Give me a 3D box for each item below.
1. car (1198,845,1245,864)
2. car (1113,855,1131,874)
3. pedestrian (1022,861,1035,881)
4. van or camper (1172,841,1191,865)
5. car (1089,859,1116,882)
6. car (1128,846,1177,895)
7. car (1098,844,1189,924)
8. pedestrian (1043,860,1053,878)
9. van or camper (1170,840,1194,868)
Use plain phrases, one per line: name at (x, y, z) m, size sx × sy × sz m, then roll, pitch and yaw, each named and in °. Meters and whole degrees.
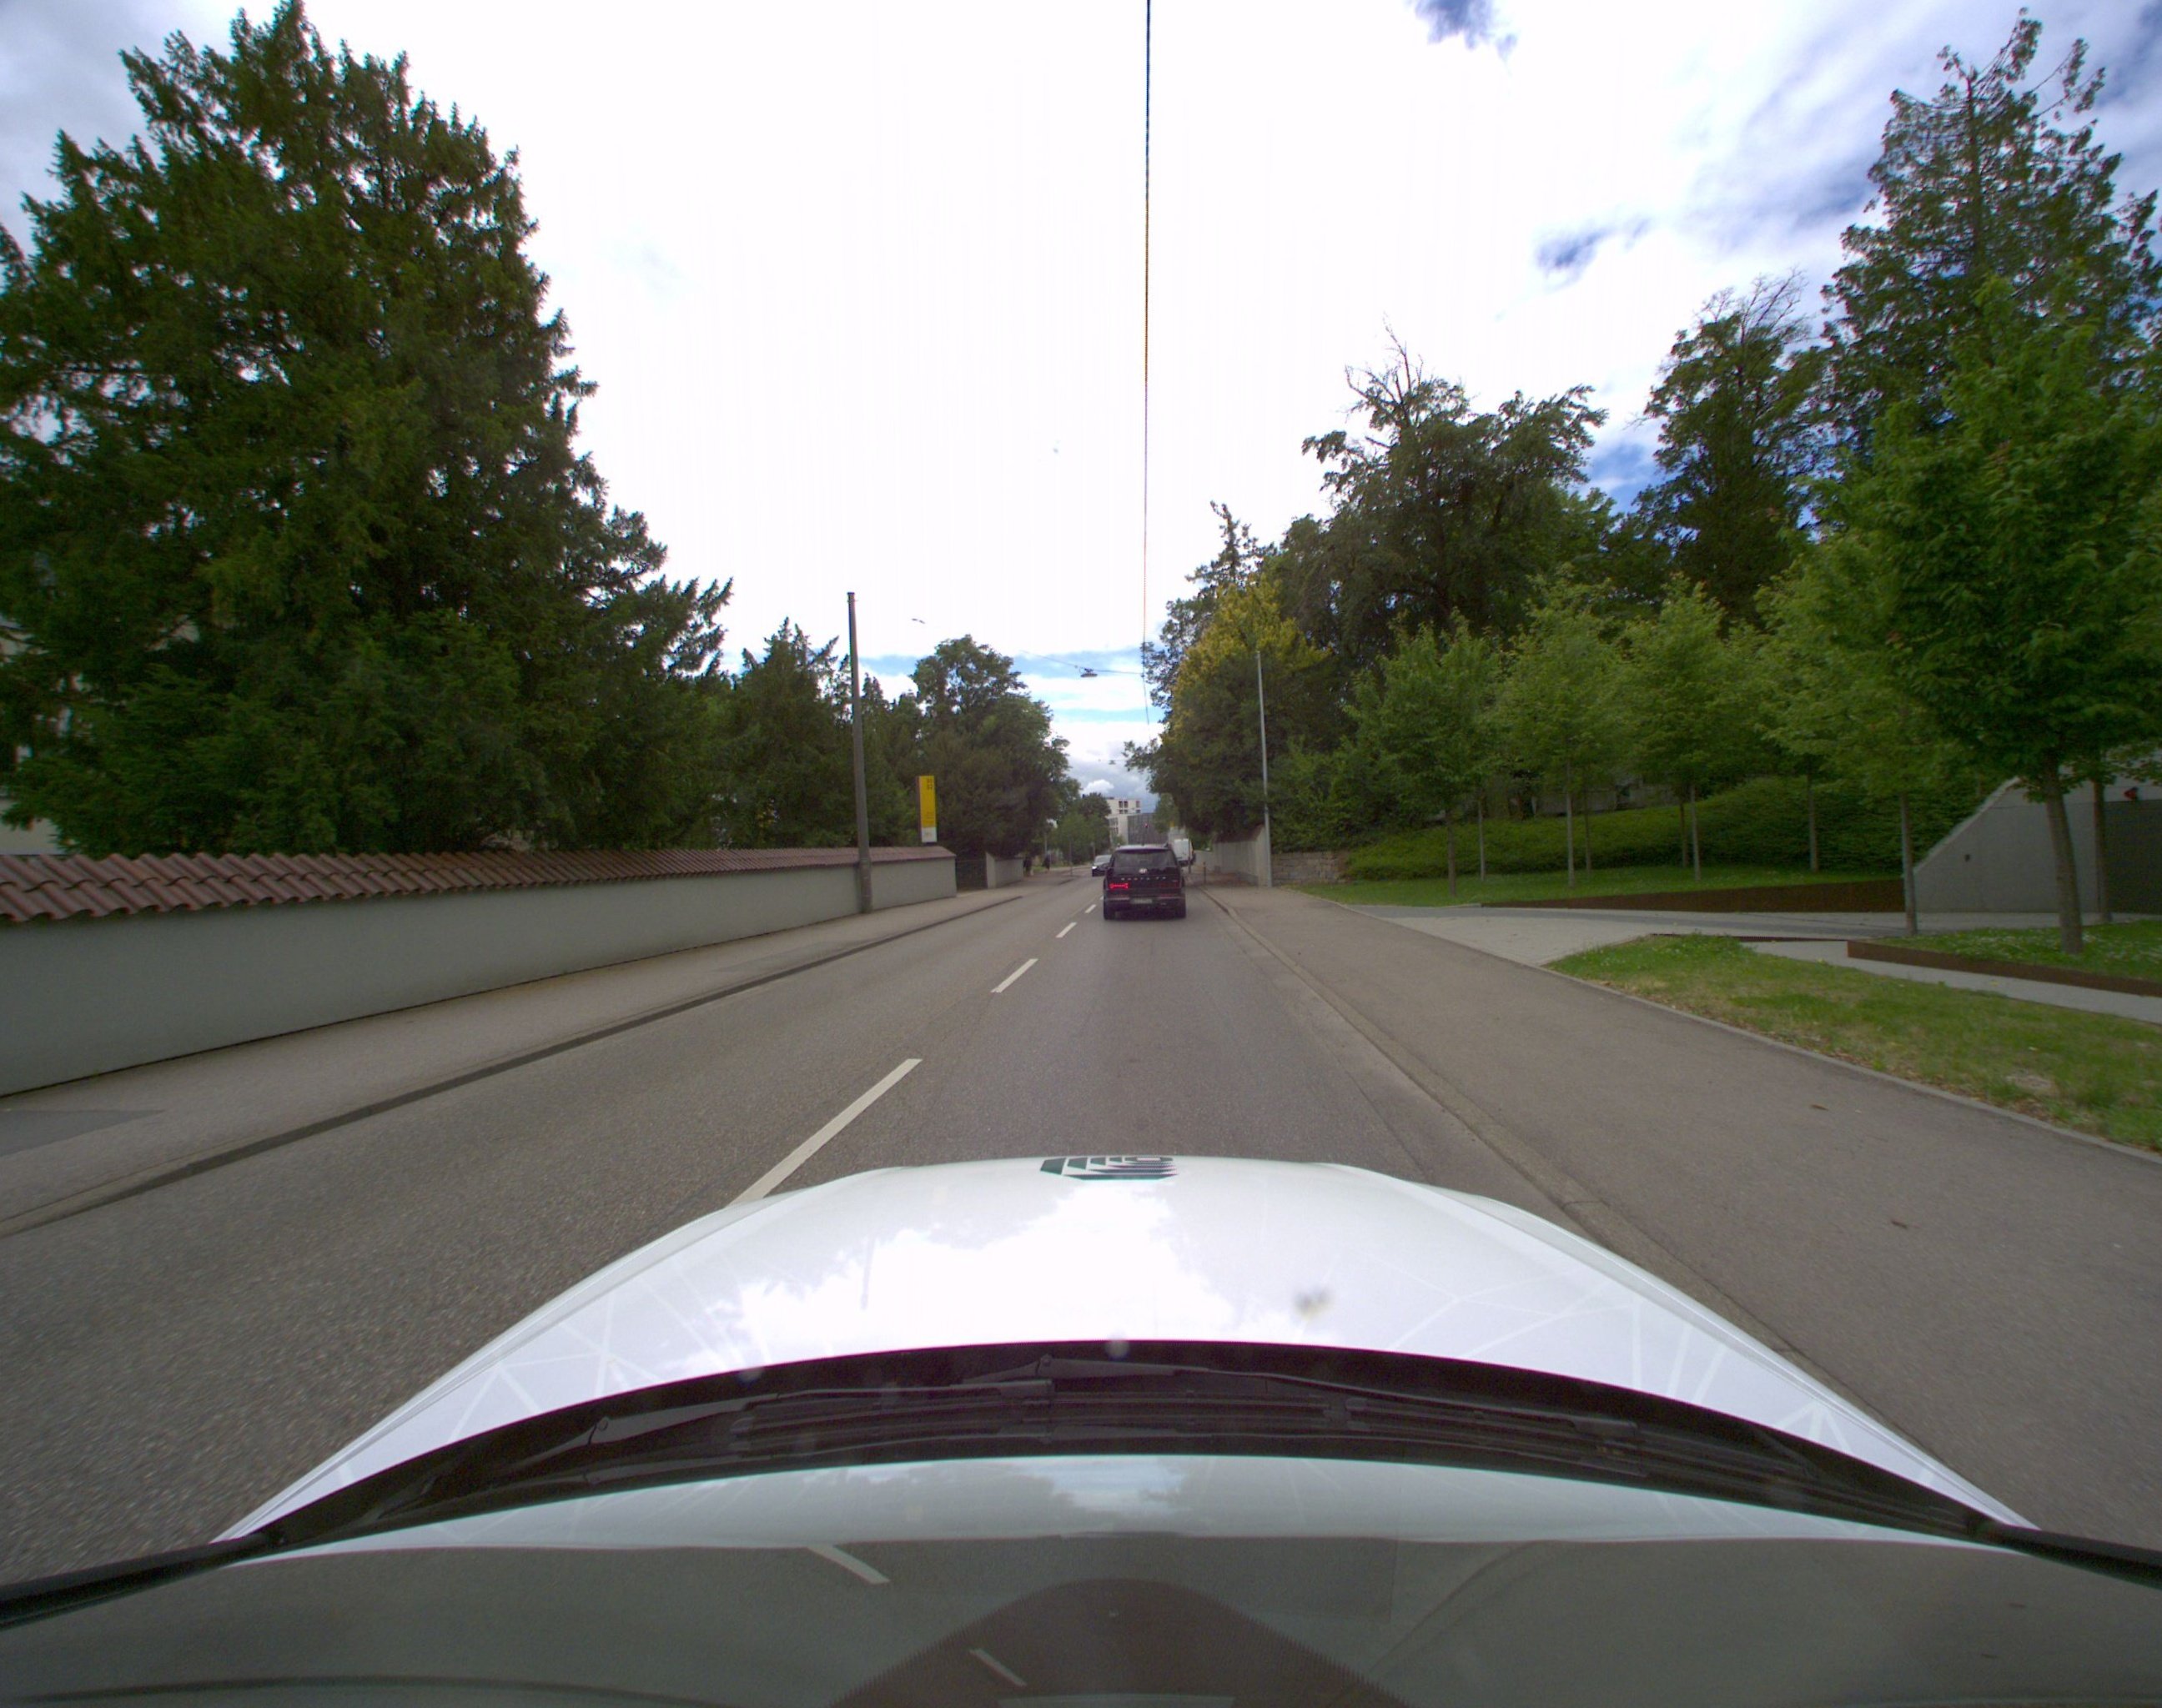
car at (13.896, 0.024, 80.713) m, size 4.371 × 1.652 × 1.833 m, roll -3°, pitch 0°, yaw 6°
car at (4.797, 1.188, 94.831) m, size 1.882 × 1.855 × 5.089 m, roll -6°, pitch 0°, yaw 4°
pedestrian at (-4.040, 1.330, 63.063) m, size 0.922 × 1.560 × 0.902 m, roll 0°, pitch -1°, yaw 1°
van or camper at (12.626, -0.178, 102.495) m, size 1.955 × 2.797 × 5.293 m, roll -5°, pitch 0°, yaw 4°
car at (1.604, 1.156, 58.736) m, size 1.778 × 1.428 × 4.003 m, roll -4°, pitch 0°, yaw 3°
car at (3.199, 0.701, 36.496) m, size 1.955 × 2.001 × 4.005 m, roll -3°, pitch 0°, yaw 4°
car at (1.529, 0.648, 19.860) m, size 1.954 × 1.711 × 4.005 m, roll -2°, pitch 0°, yaw 5°
pedestrian at (-2.950, 1.299, 72.916) m, size 0.745 × 1.578 × 0.968 m, roll -1°, pitch 0°, yaw 5°
van or camper at (10.343, 0.005, 83.764) m, size 1.955 × 2.627 × 6.366 m, roll -5°, pitch 0°, yaw 4°
